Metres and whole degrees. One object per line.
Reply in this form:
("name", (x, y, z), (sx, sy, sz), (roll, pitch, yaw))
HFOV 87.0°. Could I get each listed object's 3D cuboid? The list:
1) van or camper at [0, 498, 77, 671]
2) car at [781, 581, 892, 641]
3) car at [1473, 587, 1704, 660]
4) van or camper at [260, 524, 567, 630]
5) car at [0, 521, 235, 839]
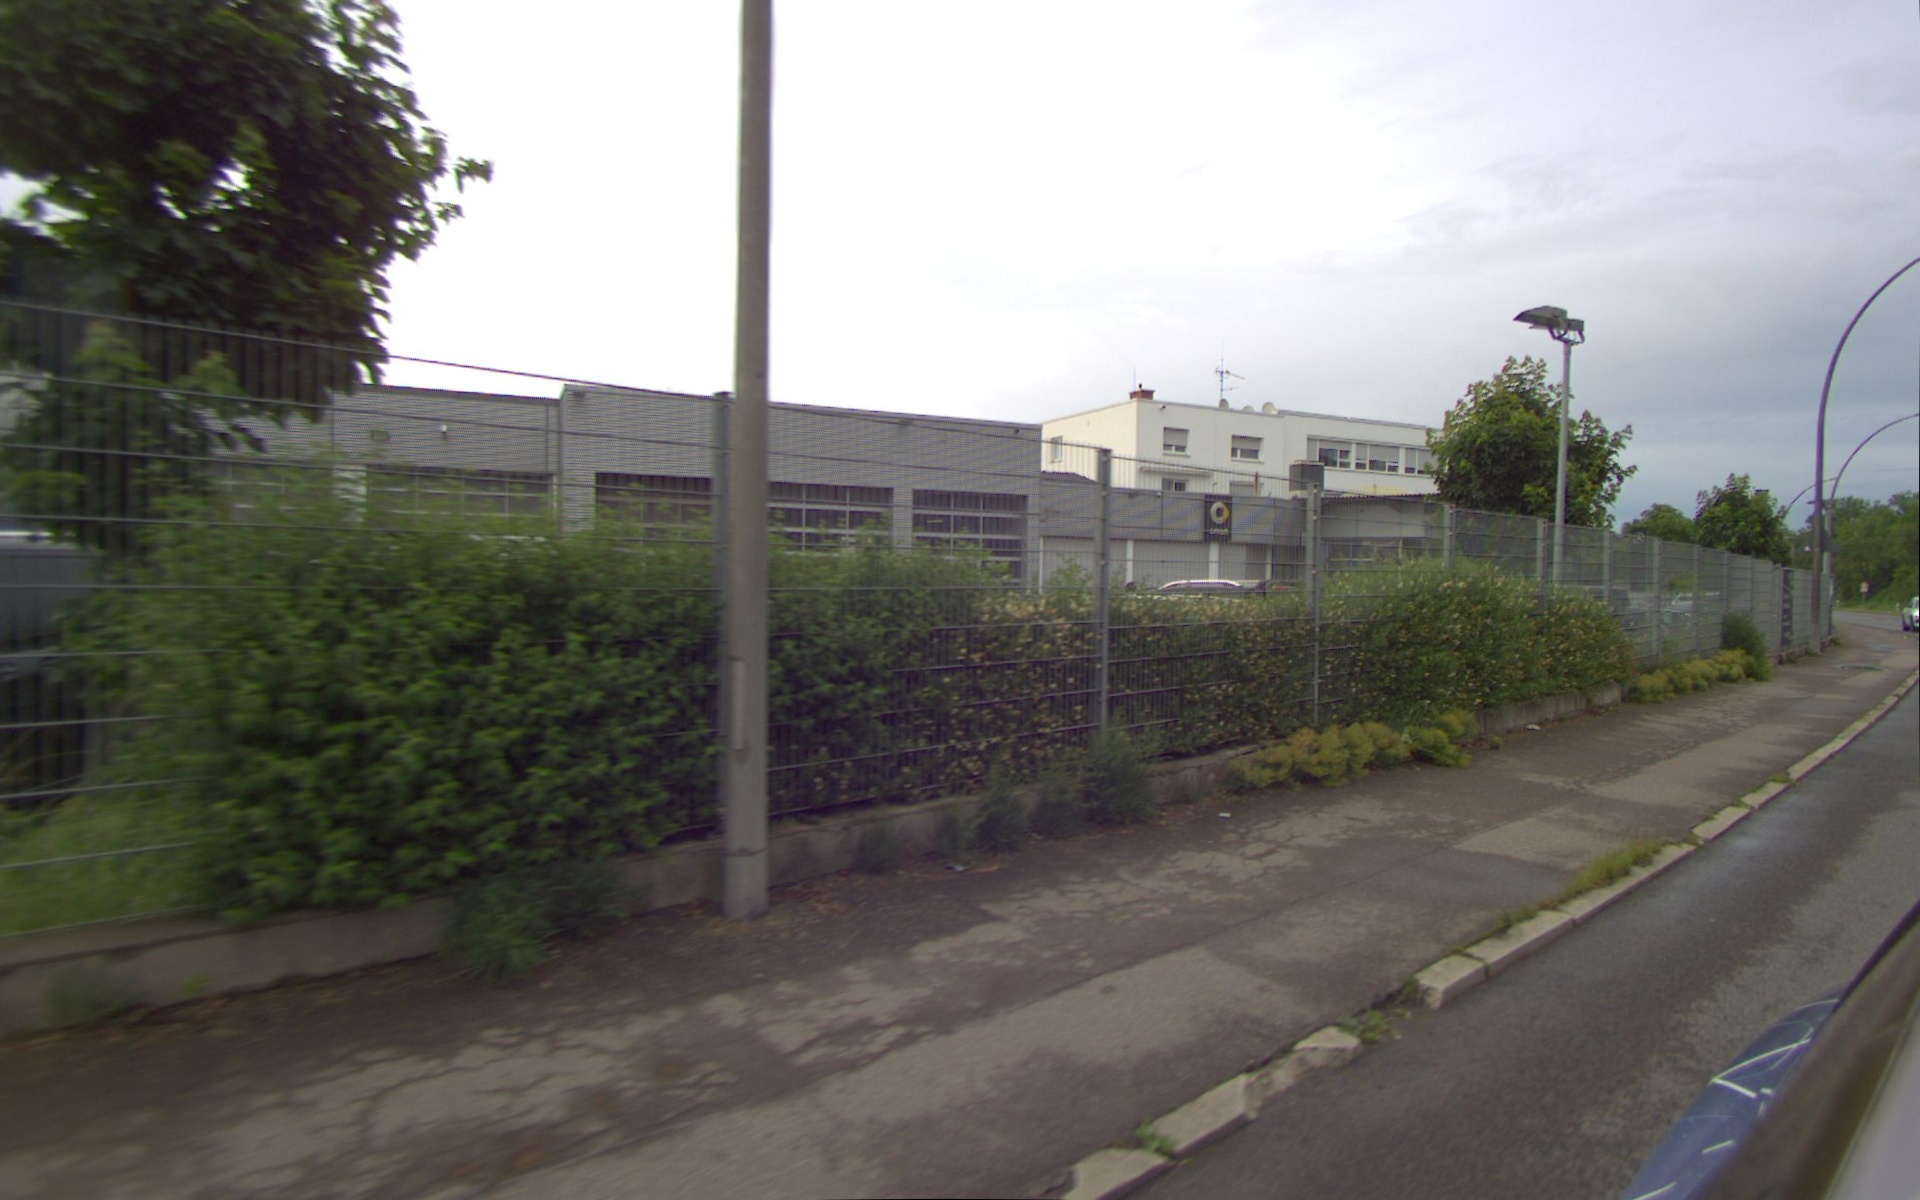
("van or camper", (-17.130, -0.265, 15.040), (5.623, 2.589, 2.344), (0, 1, -27))
("car", (-3.455, 0.293, 27.480), (1.685, 1.418, 4.658), (-2, 0, -23))
("car", (13.959, 0.517, 22.666), (1.757, 1.421, 3.995), (-2, 0, -38))
("van or camper", (-11.013, -0.406, 20.833), (5.319, 1.963, 2.003), (0, -1, -26))
("car", (-6.551, 0.442, 6.267), (1.737, 1.861, 4.124), (1, 1, -10))
